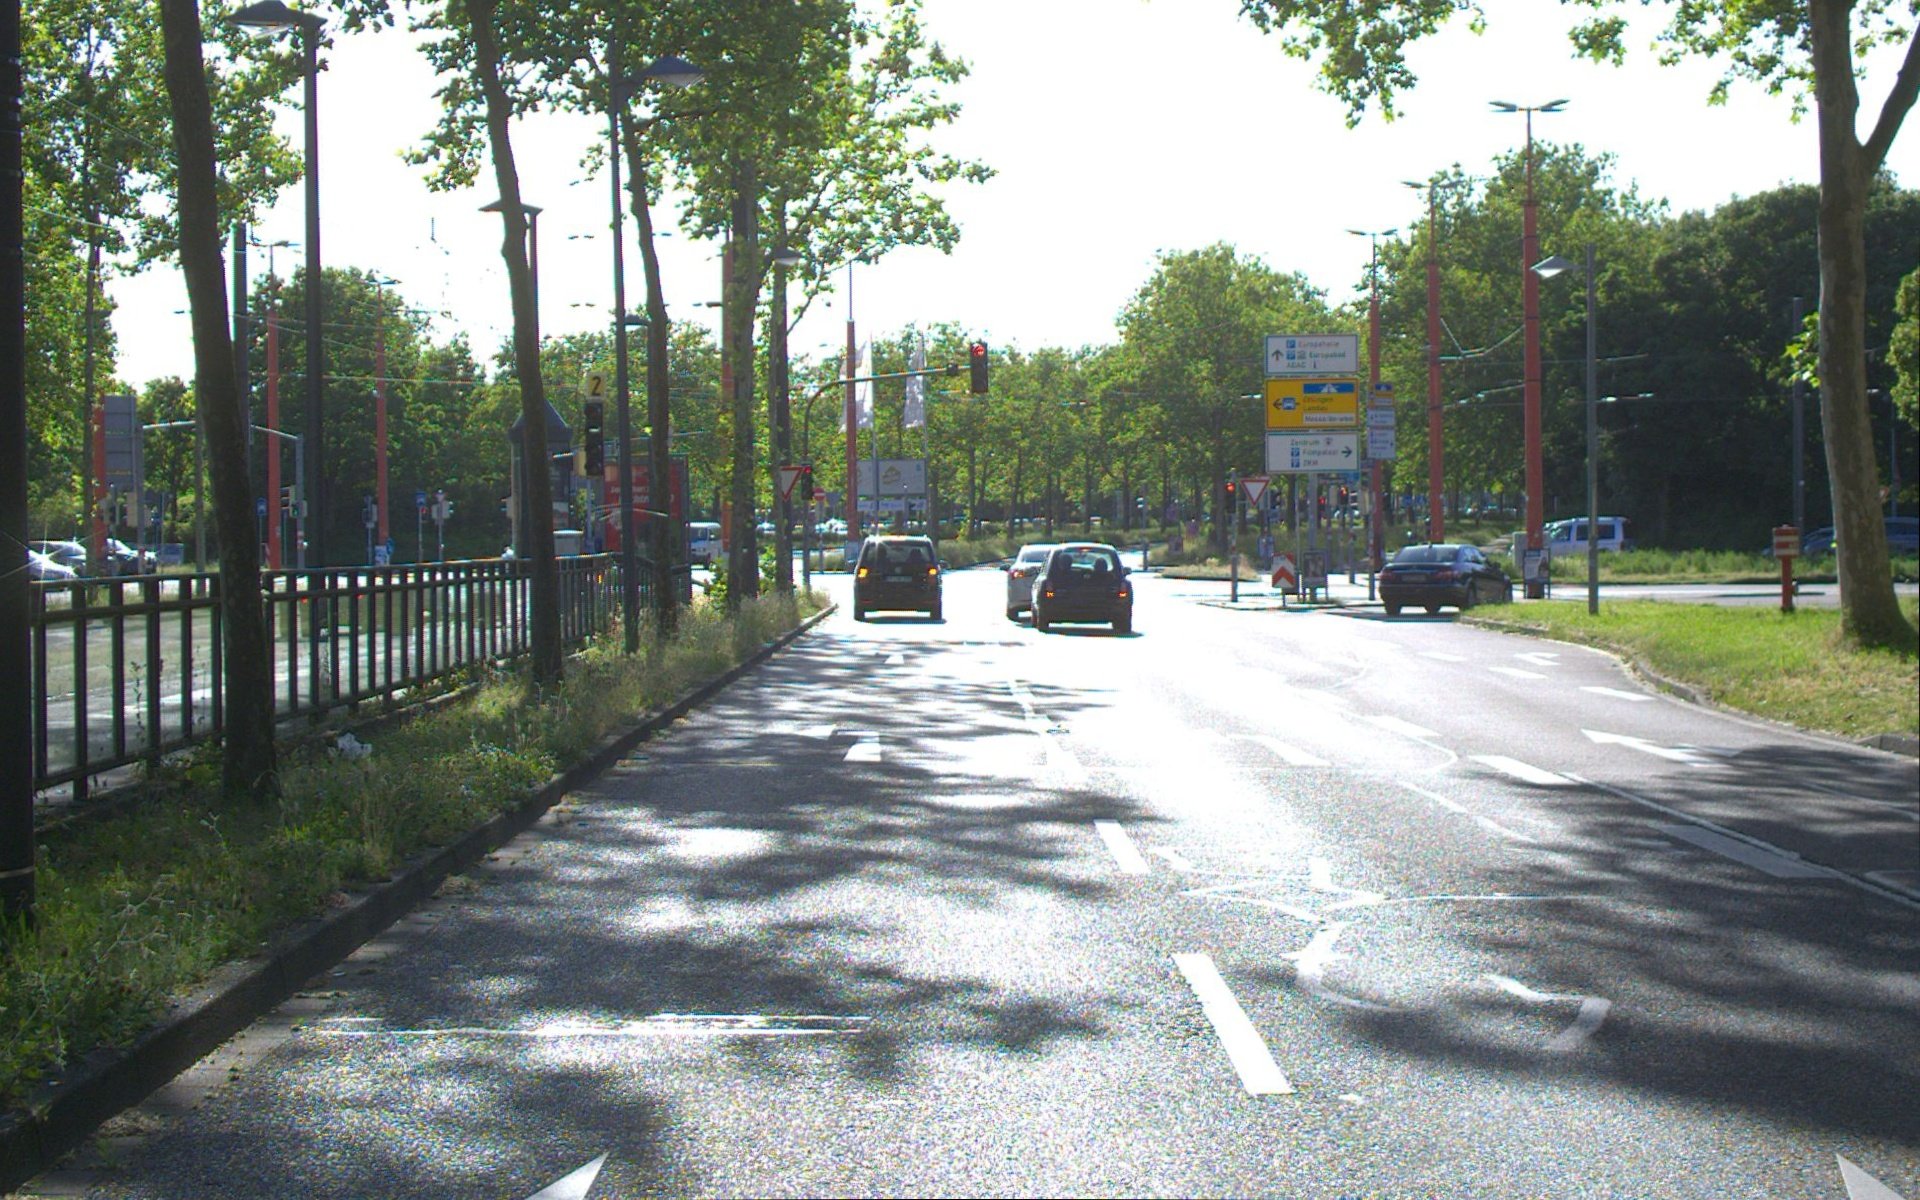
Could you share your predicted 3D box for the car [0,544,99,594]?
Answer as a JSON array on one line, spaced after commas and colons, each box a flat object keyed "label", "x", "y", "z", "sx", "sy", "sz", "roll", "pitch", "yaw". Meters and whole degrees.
[{"label": "car", "x": -32.421, "y": -1.061, "z": 119.479, "sx": 4.489, "sy": 1.605, "sz": 1.899, "roll": -1, "pitch": 3, "yaw": 18}]

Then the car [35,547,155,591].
[{"label": "car", "x": -32.477, "y": -1.160, "z": 129.081, "sx": 3.990, "sy": 1.615, "sz": 1.898, "roll": 0, "pitch": 1, "yaw": 18}]

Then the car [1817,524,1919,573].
[{"label": "car", "x": 30.534, "y": -1.681, "z": 112.874, "sx": 4.357, "sy": 1.553, "sz": 1.870, "roll": 1, "pitch": 1, "yaw": 24}]

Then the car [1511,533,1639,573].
[{"label": "car", "x": 21.033, "y": -1.602, "z": 117.519, "sx": 3.992, "sy": 1.333, "sz": 1.727, "roll": 1, "pitch": 1, "yaw": 25}]

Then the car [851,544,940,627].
[{"label": "car", "x": -1.287, "y": -0.299, "z": 67.822, "sx": 1.710, "sy": 1.598, "sz": 3.350, "roll": 0, "pitch": 1, "yaw": -2}]

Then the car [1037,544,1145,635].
[{"label": "car", "x": 2.268, "y": -0.213, "z": 60.408, "sx": 1.638, "sy": 1.489, "sz": 3.504, "roll": 1, "pitch": 2, "yaw": -2}]

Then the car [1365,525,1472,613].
[{"label": "car", "x": 9.651, "y": -0.658, "z": 72.669, "sx": 1.982, "sy": 1.786, "sz": 4.613, "roll": 0, "pitch": 1, "yaw": 4}]

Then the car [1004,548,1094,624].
[{"label": "car", "x": 1.736, "y": -0.296, "z": 68.391, "sx": 1.678, "sy": 1.470, "sz": 4.131, "roll": 0, "pitch": 1, "yaw": 0}]

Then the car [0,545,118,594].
[{"label": "car", "x": -32.509, "y": -1.076, "z": 122.562, "sx": 4.489, "sy": 1.605, "sz": 1.899, "roll": -1, "pitch": 3, "yaw": 18}]

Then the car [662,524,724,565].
[{"label": "car", "x": -11.875, "y": -2.476, "z": 153.168, "sx": 1.823, "sy": 1.774, "sz": 4.566, "roll": 1, "pitch": 1, "yaw": 8}]

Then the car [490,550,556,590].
[{"label": "car", "x": -16.192, "y": -1.106, "z": 127.472, "sx": 1.632, "sy": 1.444, "sz": 3.718, "roll": 1, "pitch": 1, "yaw": 5}]
